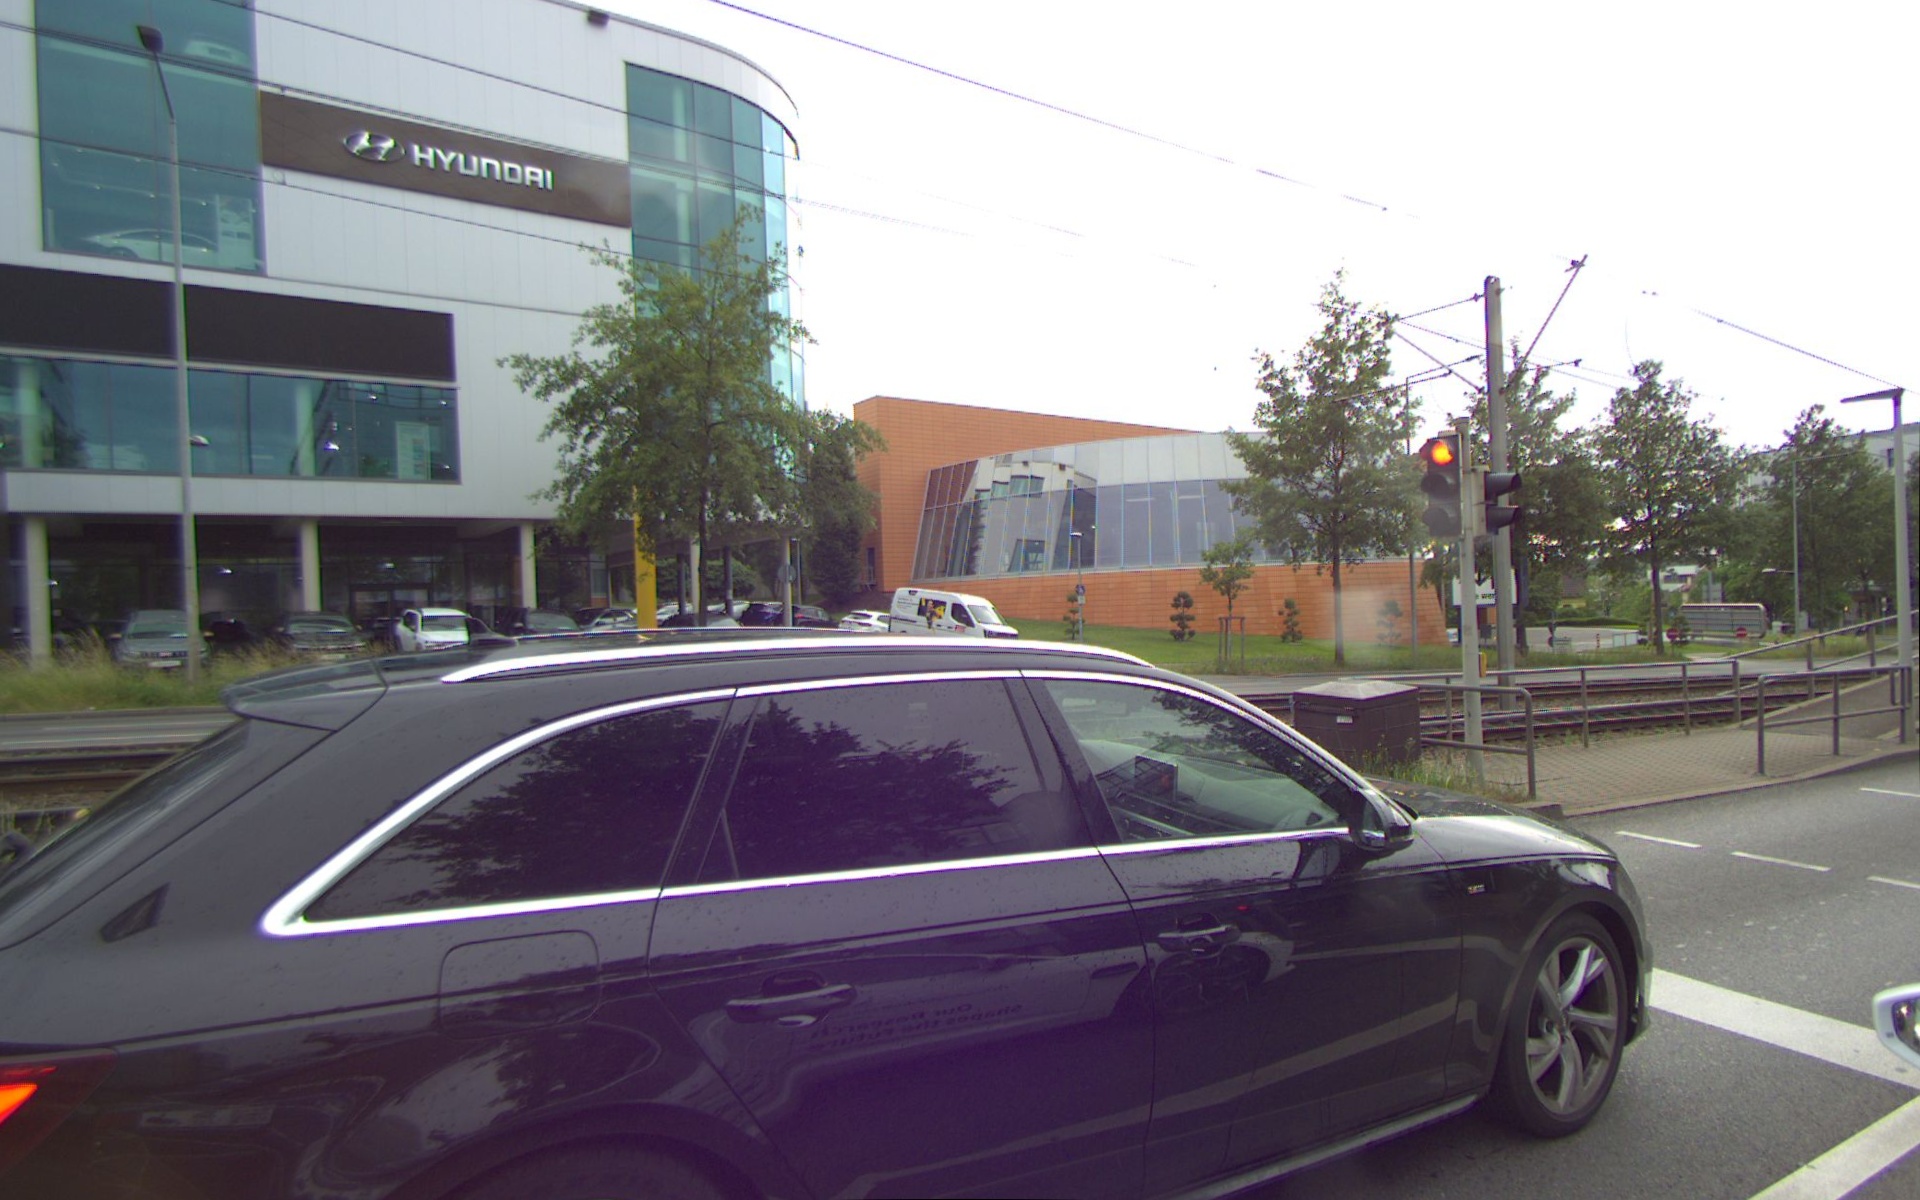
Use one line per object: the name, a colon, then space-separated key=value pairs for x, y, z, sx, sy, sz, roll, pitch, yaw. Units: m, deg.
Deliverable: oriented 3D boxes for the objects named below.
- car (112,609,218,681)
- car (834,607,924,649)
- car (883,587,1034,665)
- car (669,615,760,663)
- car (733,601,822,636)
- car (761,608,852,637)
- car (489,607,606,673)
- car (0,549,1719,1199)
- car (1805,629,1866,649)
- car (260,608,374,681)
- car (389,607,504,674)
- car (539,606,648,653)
car: x=-19.870 y=1.057 z=25.069 sx=1.917 sy=1.479 sz=3.974 roll=1 pitch=1 yaw=-40
car: x=-3.343 y=1.161 z=42.164 sx=1.703 sy=1.688 sz=3.734 roll=1 pitch=-1 yaw=38
car: x=-0.123 y=0.913 z=38.114 sx=5.544 sy=2.616 sz=2.392 roll=3 pitch=1 yaw=43
car: x=-7.808 y=1.175 z=31.788 sx=1.565 sy=1.409 sz=3.619 roll=0 pitch=-1 yaw=-36
car: x=-8.871 y=0.908 z=49.083 sx=1.969 sy=1.653 sz=3.982 roll=0 pitch=-1 yaw=39
car: x=-7.221 y=1.062 z=47.518 sx=1.969 sy=1.297 sz=3.982 roll=0 pitch=-1 yaw=39
car: x=-12.325 y=1.135 z=29.866 sx=1.984 sy=1.637 sz=4.324 roll=1 pitch=1 yaw=-40
car: x=0.096 y=0.719 z=2.876 sx=4.461 sy=1.486 sz=1.772 roll=1 pitch=-1 yaw=-31
car: x=67.208 y=2.955 z=77.178 sx=1.408 sy=1.405 sz=3.371 roll=0 pitch=0 yaw=-13
car: x=-16.960 y=1.103 z=26.395 sx=1.984 sy=1.571 sz=4.324 roll=1 pitch=1 yaw=-40
car: x=-14.503 y=1.072 z=28.250 sx=1.984 sy=1.571 sz=4.324 roll=1 pitch=1 yaw=-40
car: x=-12.836 y=1.010 z=35.344 sx=1.691 sy=1.572 sz=3.587 roll=0 pitch=-1 yaw=20
